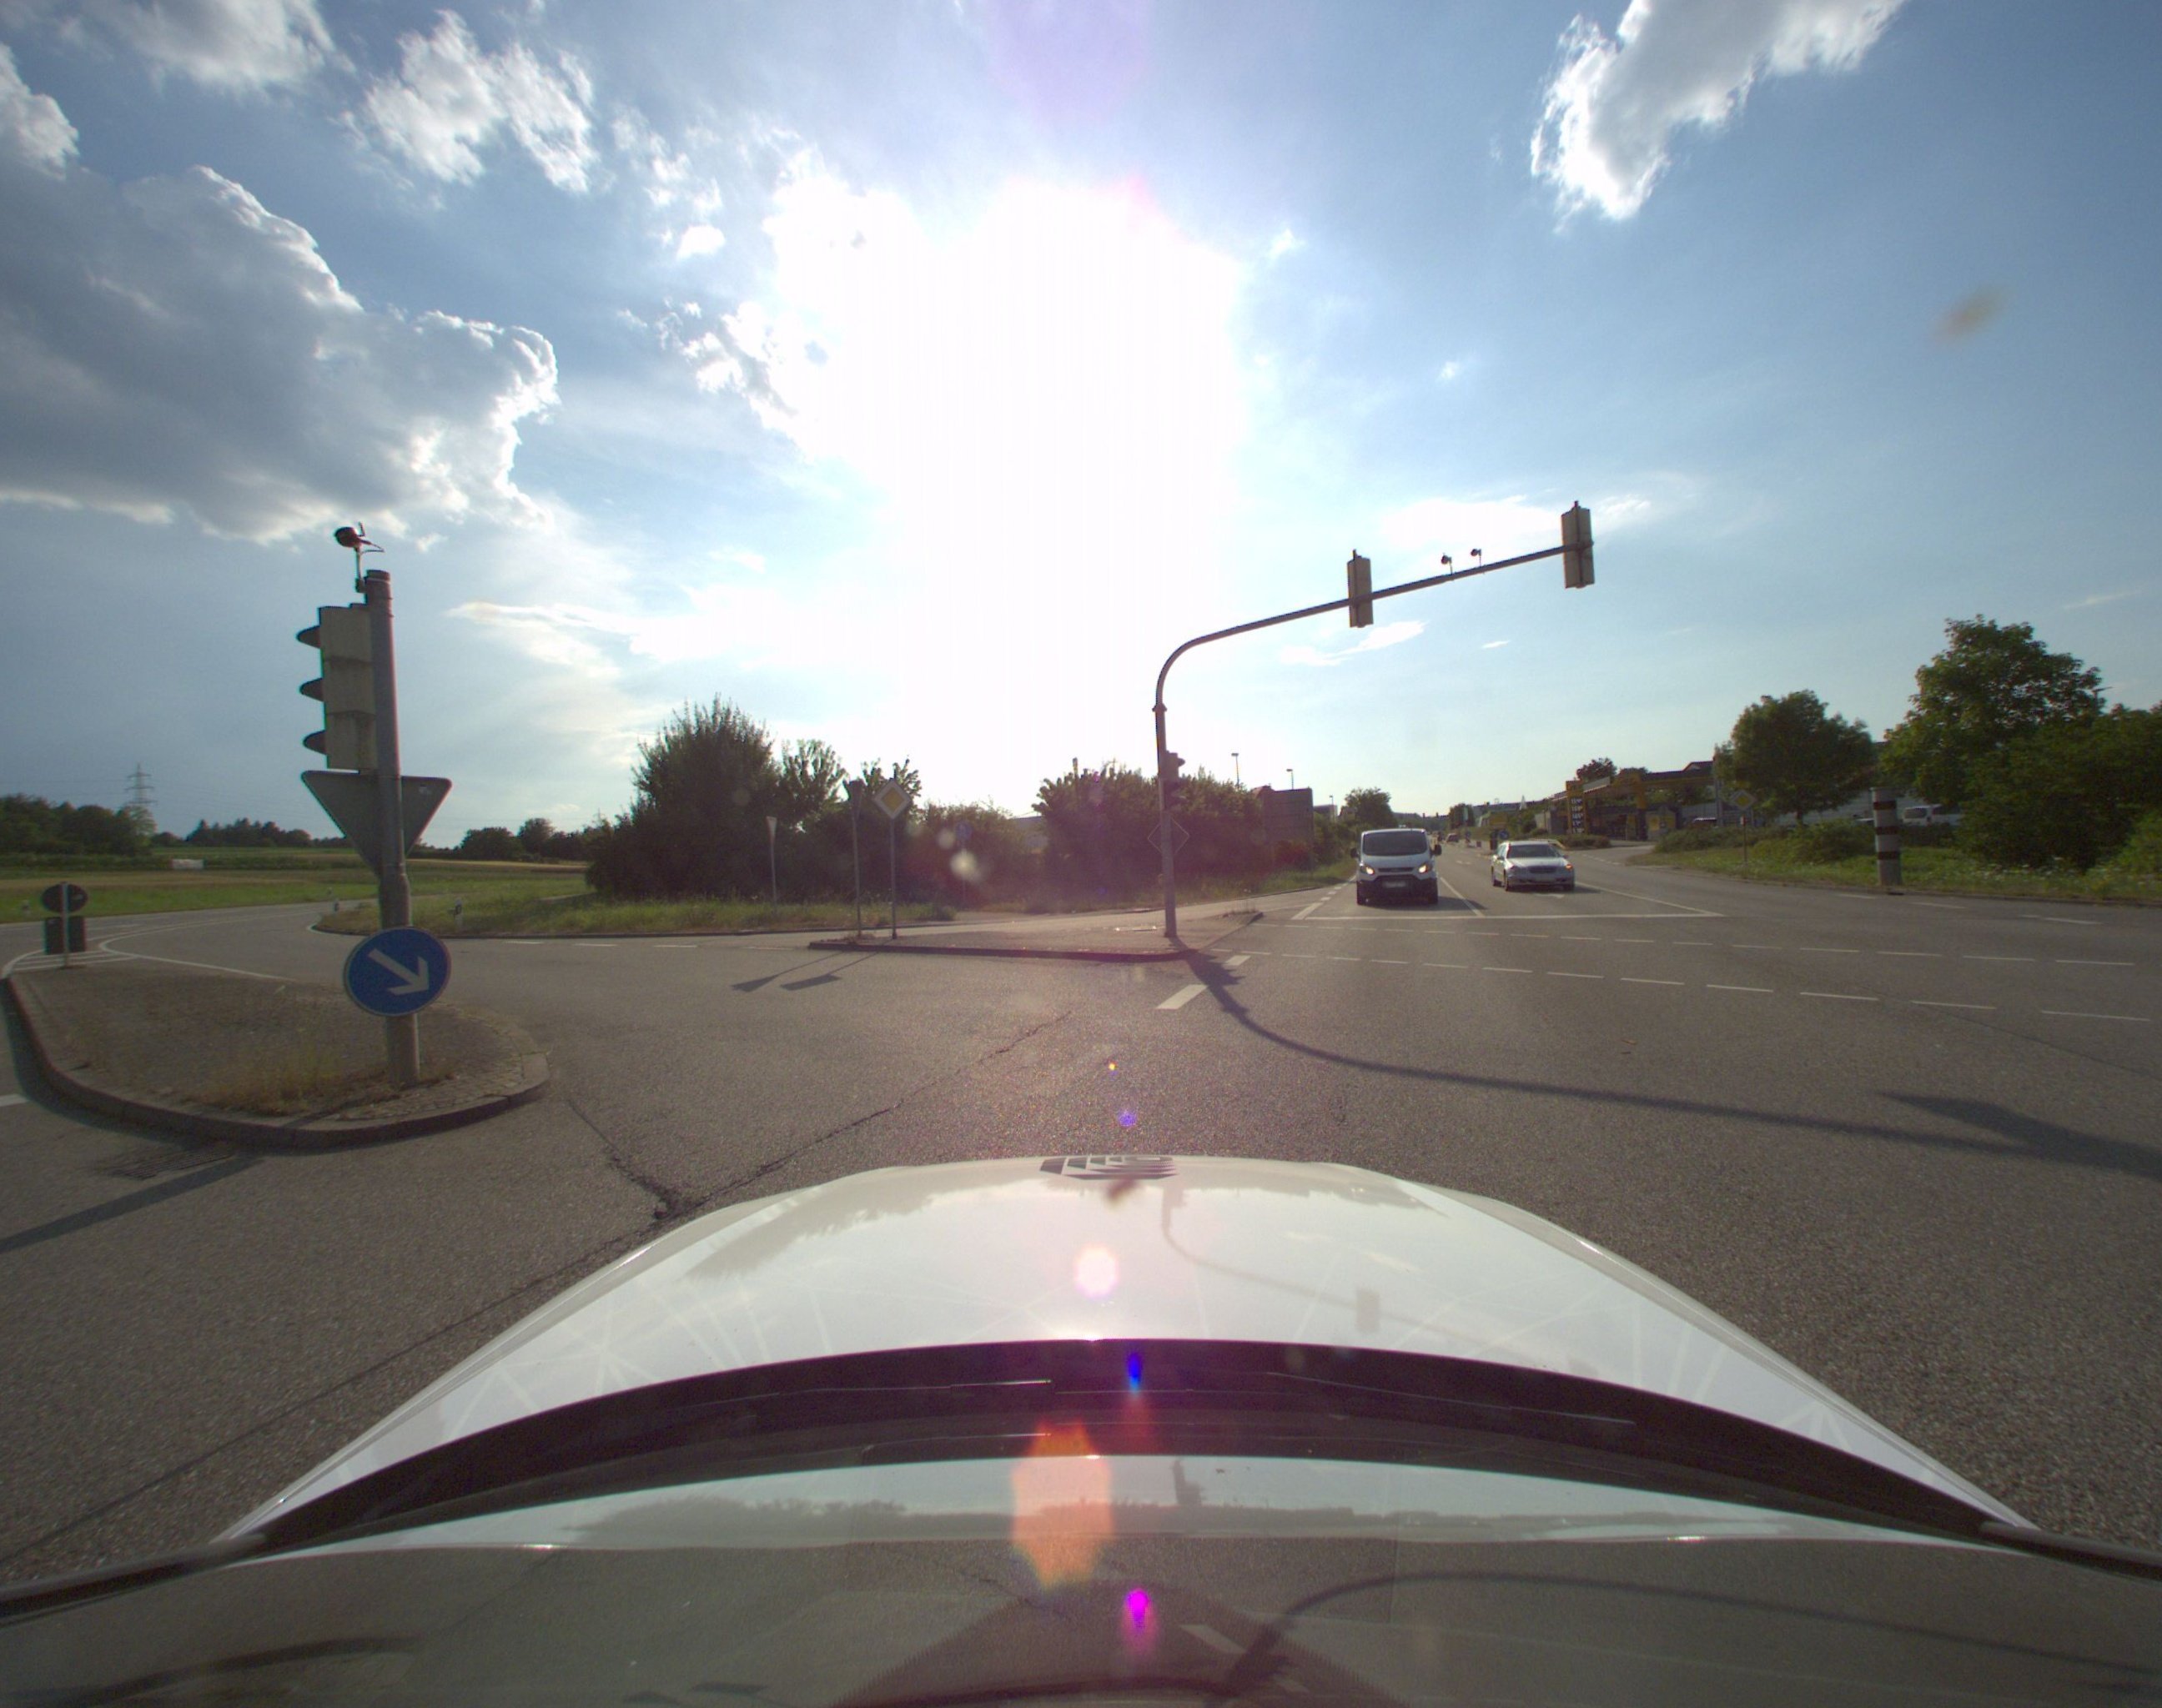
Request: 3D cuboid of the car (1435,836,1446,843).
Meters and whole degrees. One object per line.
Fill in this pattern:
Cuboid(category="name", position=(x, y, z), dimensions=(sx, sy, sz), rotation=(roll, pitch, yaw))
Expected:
Cuboid(category="car", position=(74.662, -2.917, 169.228), dimensions=(1.727, 1.352, 3.218), rotation=(-1, -1, 18))

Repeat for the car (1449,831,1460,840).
Cuboid(category="car", position=(61.186, -3.021, 133.389), dimensions=(1.536, 1.449, 3.066), rotation=(-1, -1, 22))

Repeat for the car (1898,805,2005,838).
Cuboid(category="car", position=(57.292, -2.126, 53.664), dimensions=(4.899, 2.014, 2.000), rotation=(0, -1, 0))

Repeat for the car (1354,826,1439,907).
Cuboid(category="car", position=(8.463, 0.258, 22.170), dimensions=(1.885, 1.947, 4.841), rotation=(-1, 1, 18))

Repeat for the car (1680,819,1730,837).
Cuboid(category="car", position=(57.363, -2.371, 74.942), dimensions=(2.264, 1.375, 4.880), rotation=(-1, -1, 19))

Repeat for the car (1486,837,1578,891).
Cuboid(category="car", position=(14.026, 0.296, 25.605), dimensions=(1.841, 1.513, 4.979), rotation=(-1, -1, 21))

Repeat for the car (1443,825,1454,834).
Cuboid(category="car", position=(96.432, -6.447, 213.660), dimensions=(1.978, 2.014, 4.018), rotation=(-1, -1, 18))
